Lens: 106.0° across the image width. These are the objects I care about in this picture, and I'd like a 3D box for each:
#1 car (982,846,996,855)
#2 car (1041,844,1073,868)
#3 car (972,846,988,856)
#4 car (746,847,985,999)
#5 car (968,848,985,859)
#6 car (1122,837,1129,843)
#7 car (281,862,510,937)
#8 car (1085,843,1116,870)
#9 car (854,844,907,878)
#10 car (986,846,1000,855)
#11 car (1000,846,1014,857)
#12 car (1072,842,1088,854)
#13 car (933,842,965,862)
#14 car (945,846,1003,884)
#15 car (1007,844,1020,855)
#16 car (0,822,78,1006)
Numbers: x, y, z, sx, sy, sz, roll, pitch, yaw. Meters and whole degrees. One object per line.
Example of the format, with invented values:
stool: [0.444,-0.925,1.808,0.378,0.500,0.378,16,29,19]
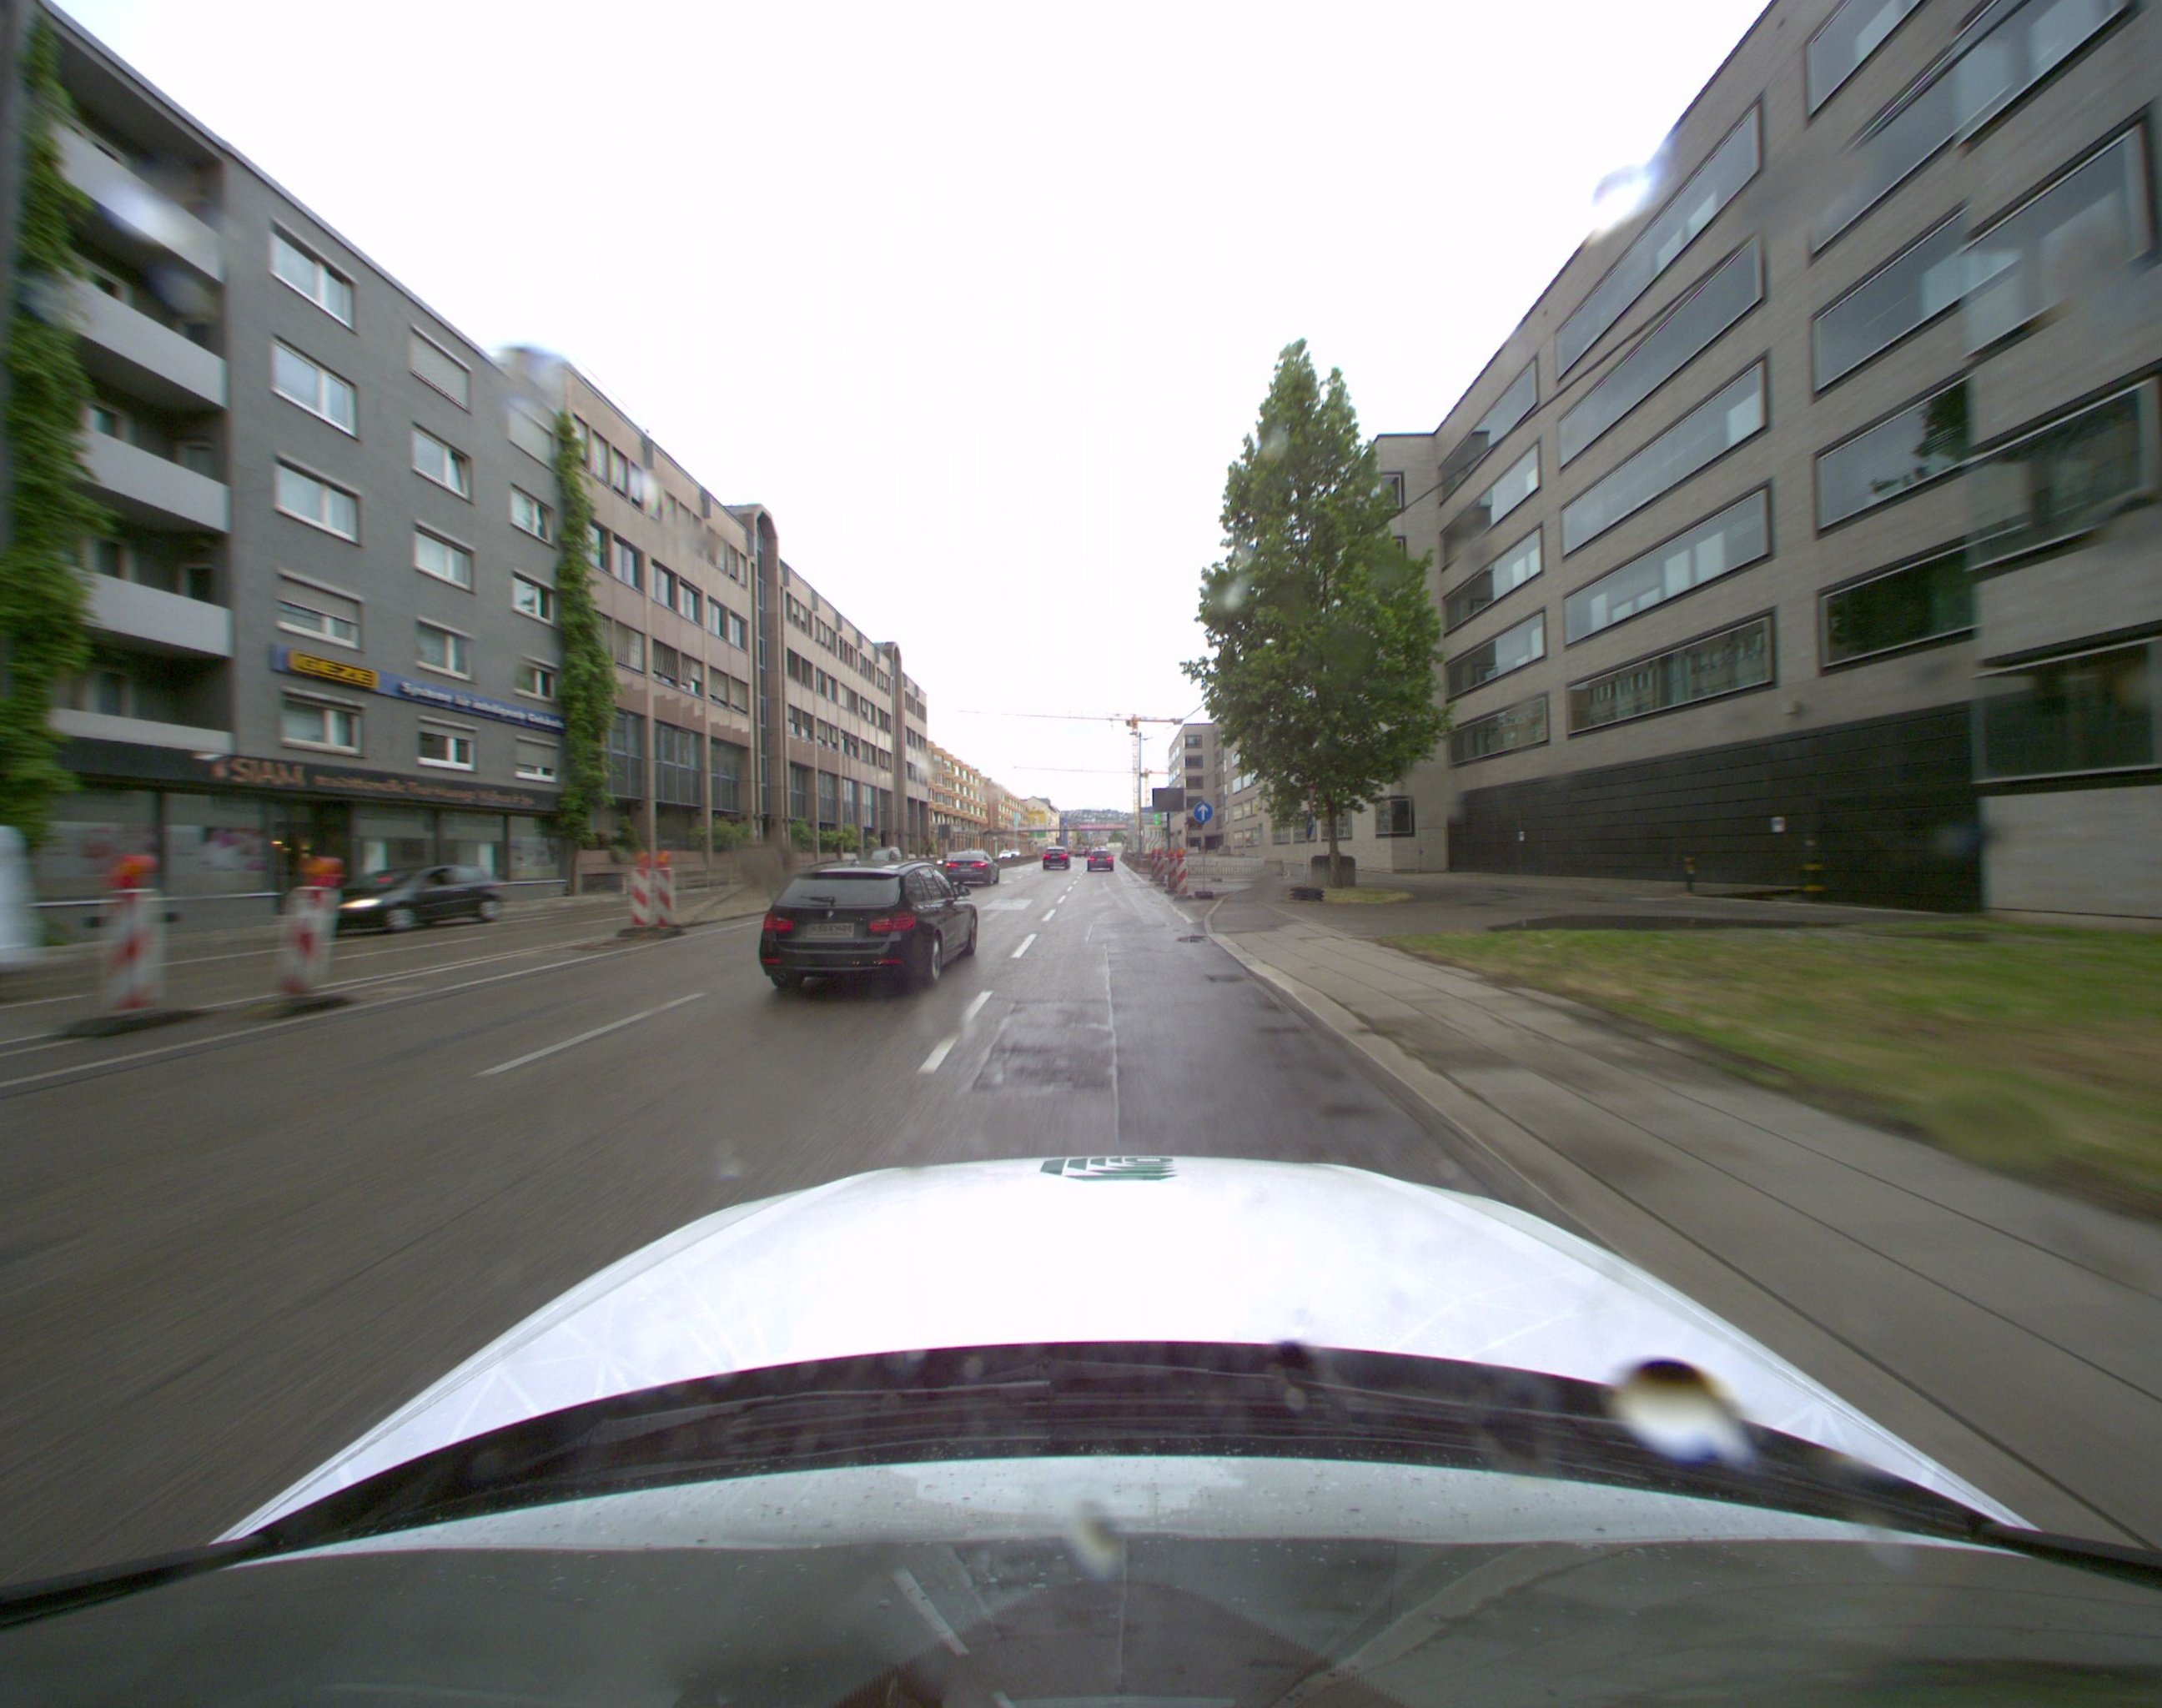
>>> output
car: [-17.847,-0.692,158.066,1.986,1.620,4.320,-2,0,2]
car: [-1.757,0.148,61.017,1.891,1.693,4.005,-2,0,5]
car: [-18.113,-0.601,146.315,1.986,1.620,4.320,-2,0,2]
car: [-2.402,0.668,10.371,1.786,1.425,4.613,-1,1,0]
car: [-17.212,-0.132,134.412,1.986,1.620,4.765,-2,0,2]
car: [12.956,-4.004,236.099,1.891,1.693,4.005,-2,0,5]
car: [-15.410,0.945,18.640,1.692,1.399,4.022,-2,0,2]
car: [1.377,0.155,55.928,1.892,1.693,4.004,-2,0,3]
car: [-11.196,0.354,45.811,1.714,1.770,4.427,-2,0,2]
car: [-17.598,-0.738,163.335,1.986,1.620,4.693,-2,0,2]
car: [-11.186,-0.330,122.887,1.596,1.442,3.659,-2,2,1]
car: [-0.163,-0.958,124.738,1.889,1.693,4.009,-2,0,8]
car: [-10.931,-0.198,67.687,1.854,1.533,4.231,-2,0,0]
car: [-4.442,0.418,34.418,1.785,1.426,4.384,-2,0,0]
car: [-12.019,-0.828,144.331,1.814,1.618,4.192,-2,2,1]
car: [-12.721,0.699,6.803,1.986,1.990,5.291,-2,0,1]
